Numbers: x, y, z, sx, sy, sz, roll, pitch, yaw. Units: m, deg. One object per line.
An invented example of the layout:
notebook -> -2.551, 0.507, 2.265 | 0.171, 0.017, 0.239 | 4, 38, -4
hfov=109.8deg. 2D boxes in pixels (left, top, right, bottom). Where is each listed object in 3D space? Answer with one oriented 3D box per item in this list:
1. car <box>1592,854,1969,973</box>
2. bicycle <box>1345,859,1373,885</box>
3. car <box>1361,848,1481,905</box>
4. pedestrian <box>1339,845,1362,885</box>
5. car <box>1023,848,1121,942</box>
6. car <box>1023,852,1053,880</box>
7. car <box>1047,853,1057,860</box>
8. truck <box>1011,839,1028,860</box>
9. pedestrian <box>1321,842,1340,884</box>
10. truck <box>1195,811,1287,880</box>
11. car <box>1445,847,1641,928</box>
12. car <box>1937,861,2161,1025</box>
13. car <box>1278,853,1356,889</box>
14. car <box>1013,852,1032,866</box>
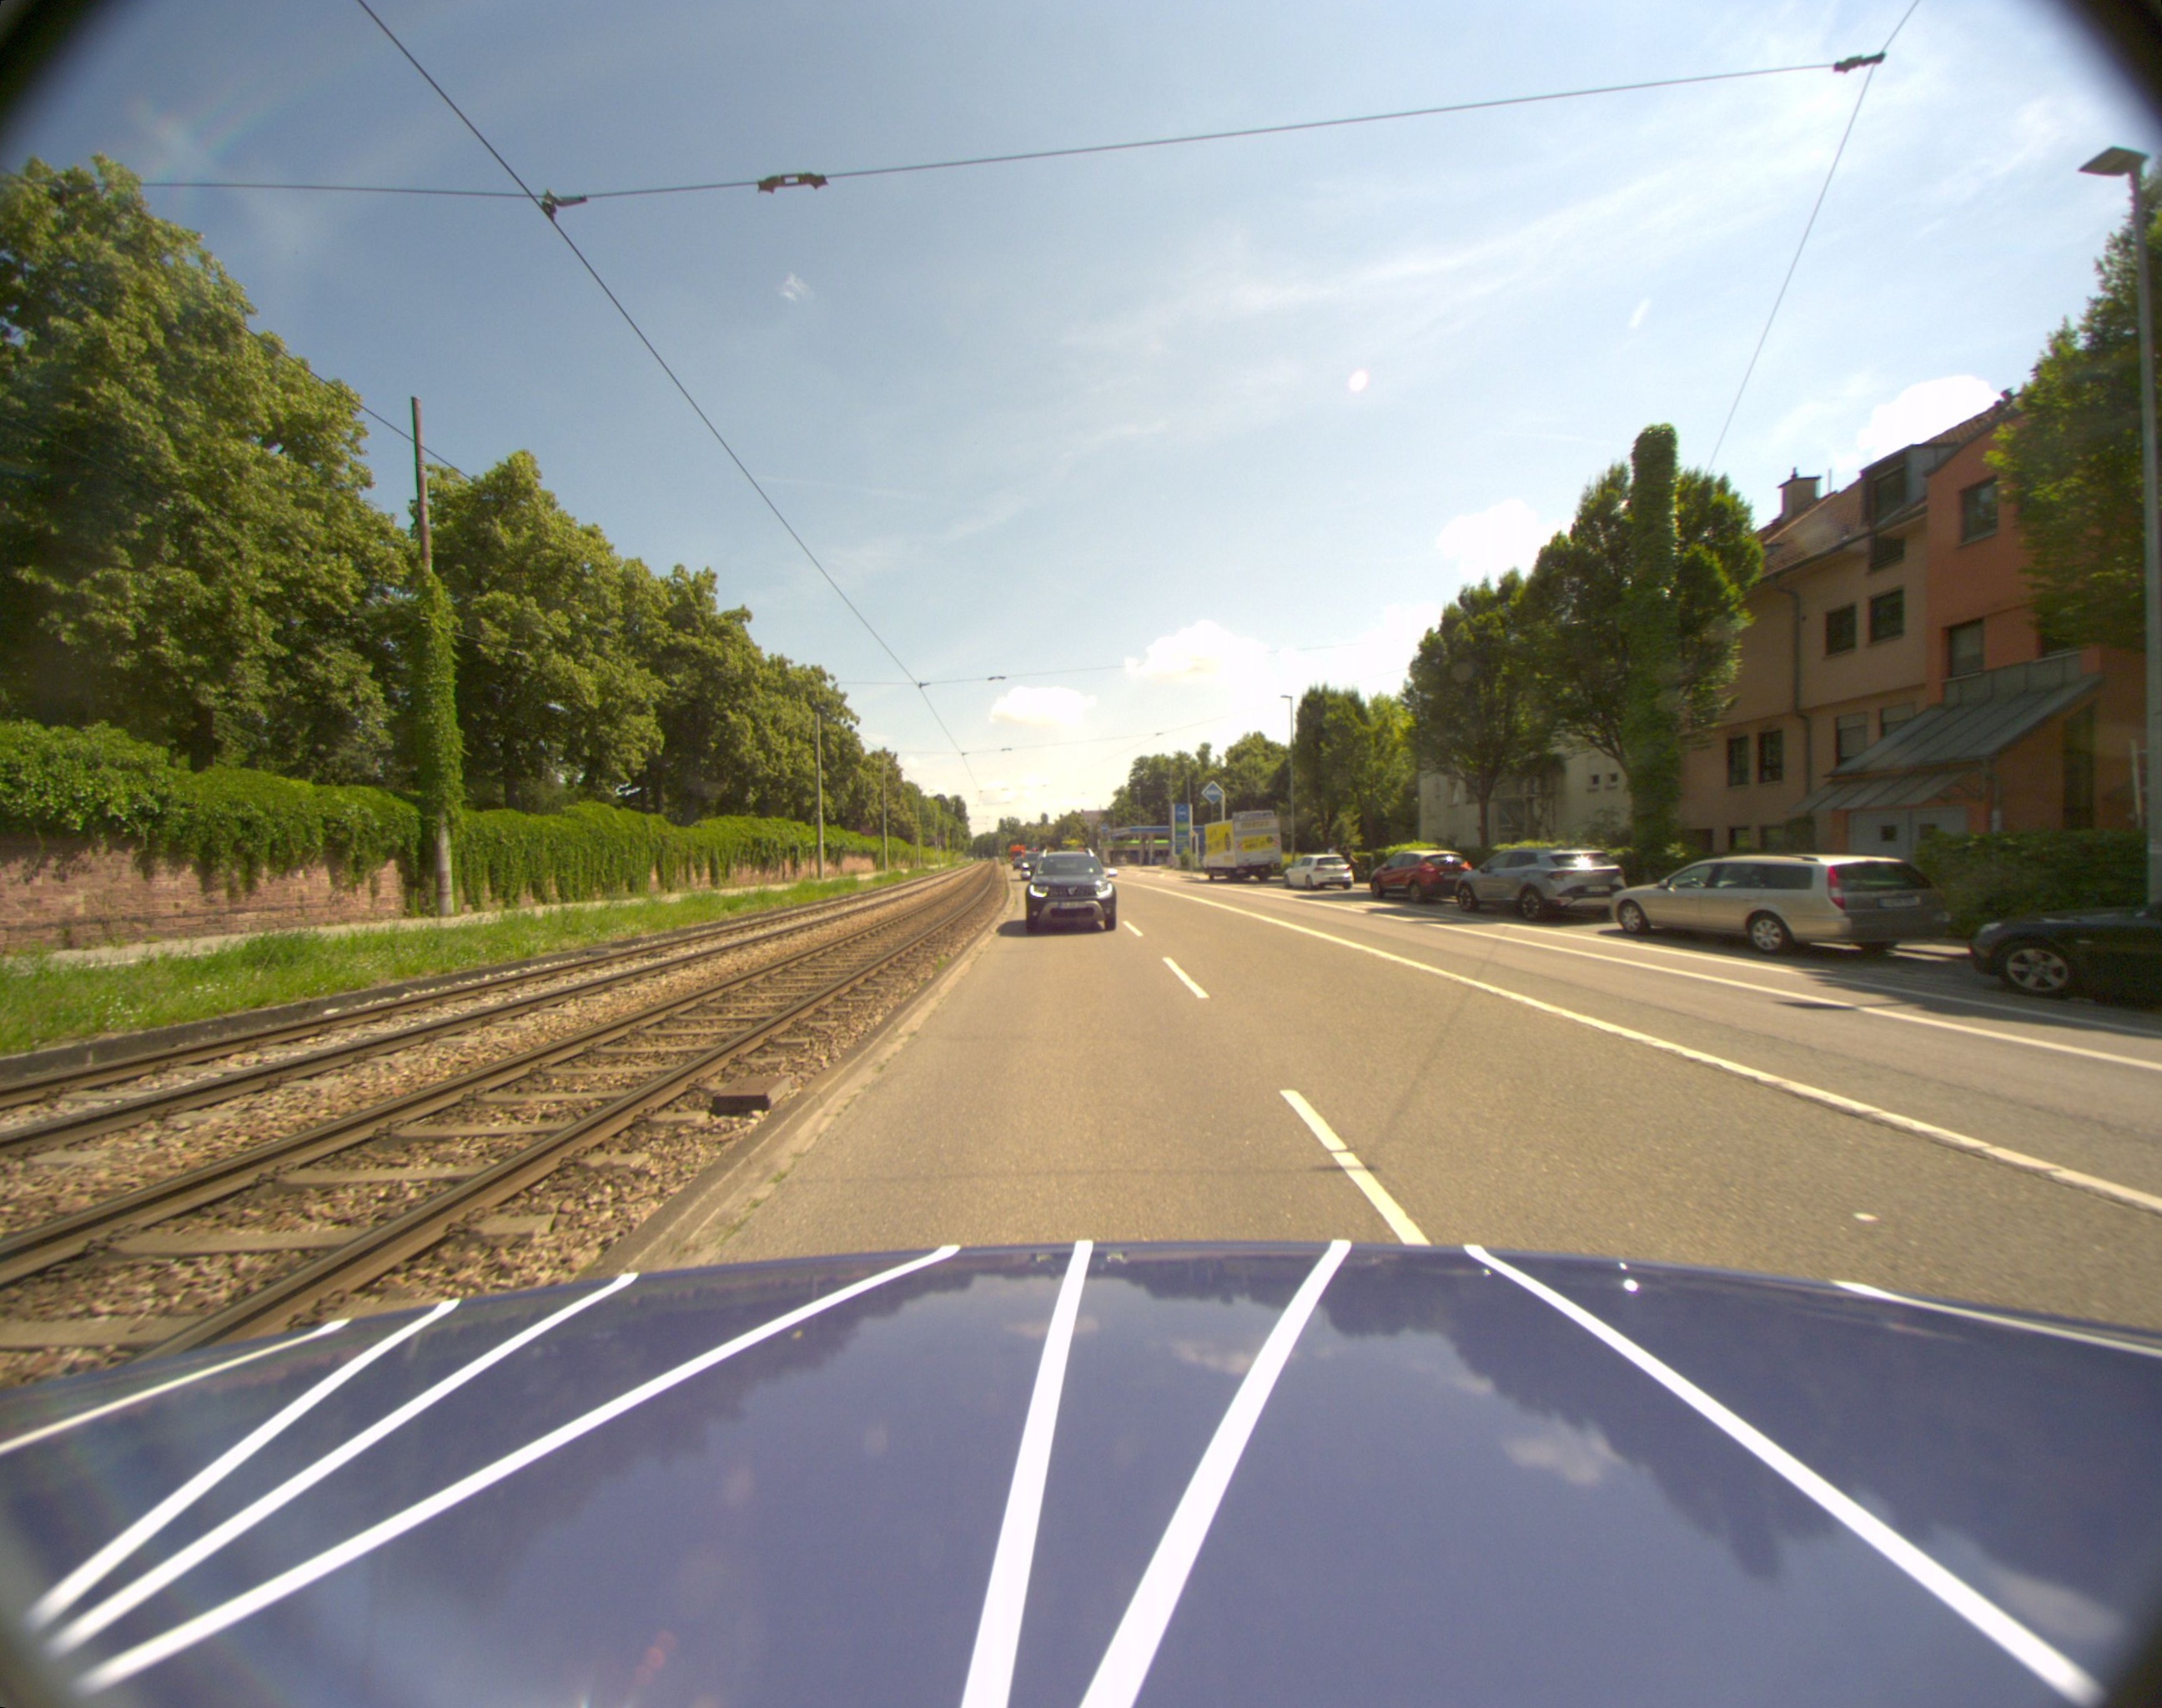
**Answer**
car -> 11.032, 0.802, 12.627 | 1.660, 1.499, 4.894 | -1, 1, -2
bicycle -> 12.643, 0.795, 34.581 | 0.457, 1.119, 1.664 | -1, 0, -8
car -> 10.590, 0.638, 24.027 | 1.660, 1.600, 4.171 | -1, 1, -5
pedestrian -> 12.318, 0.487, 34.686 | 0.685, 1.784, 0.702 | -1, 1, -31
car -> -0.281, 0.753, 16.713 | 1.802, 1.652, 4.785 | -2, 1, -3
car -> -2.758, 0.734, 48.826 | 1.802, 1.683, 4.143 | -1, 0, -4
car -> -6.250, 0.472, 161.667 | 1.999, 1.379, 3.998 | -1, 0, -4
truck -> -11.177, -0.882, 138.823 | 2.846, 3.575, 8.701 | -1, 1, -4
pedestrian -> 11.673, 0.423, 35.511 | 0.642, 1.911, 0.710 | 0, 1, 38
truck -> 9.123, -0.462, 44.383 | 2.839, 3.528, 8.166 | -3, 0, -5
car -> 10.714, 0.691, 18.116 | 1.660, 1.600, 4.686 | -3, 0, -2
car -> 11.001, 0.851, 6.485 | 1.746, 1.438, 4.963 | -3, 0, -1
car -> 9.981, 0.679, 32.475 | 1.660, 1.402, 4.395 | -1, 0, -5
car -> -6.382, 0.530, 82.895 | 1.999, 1.346, 3.998 | 2, 1, -5
